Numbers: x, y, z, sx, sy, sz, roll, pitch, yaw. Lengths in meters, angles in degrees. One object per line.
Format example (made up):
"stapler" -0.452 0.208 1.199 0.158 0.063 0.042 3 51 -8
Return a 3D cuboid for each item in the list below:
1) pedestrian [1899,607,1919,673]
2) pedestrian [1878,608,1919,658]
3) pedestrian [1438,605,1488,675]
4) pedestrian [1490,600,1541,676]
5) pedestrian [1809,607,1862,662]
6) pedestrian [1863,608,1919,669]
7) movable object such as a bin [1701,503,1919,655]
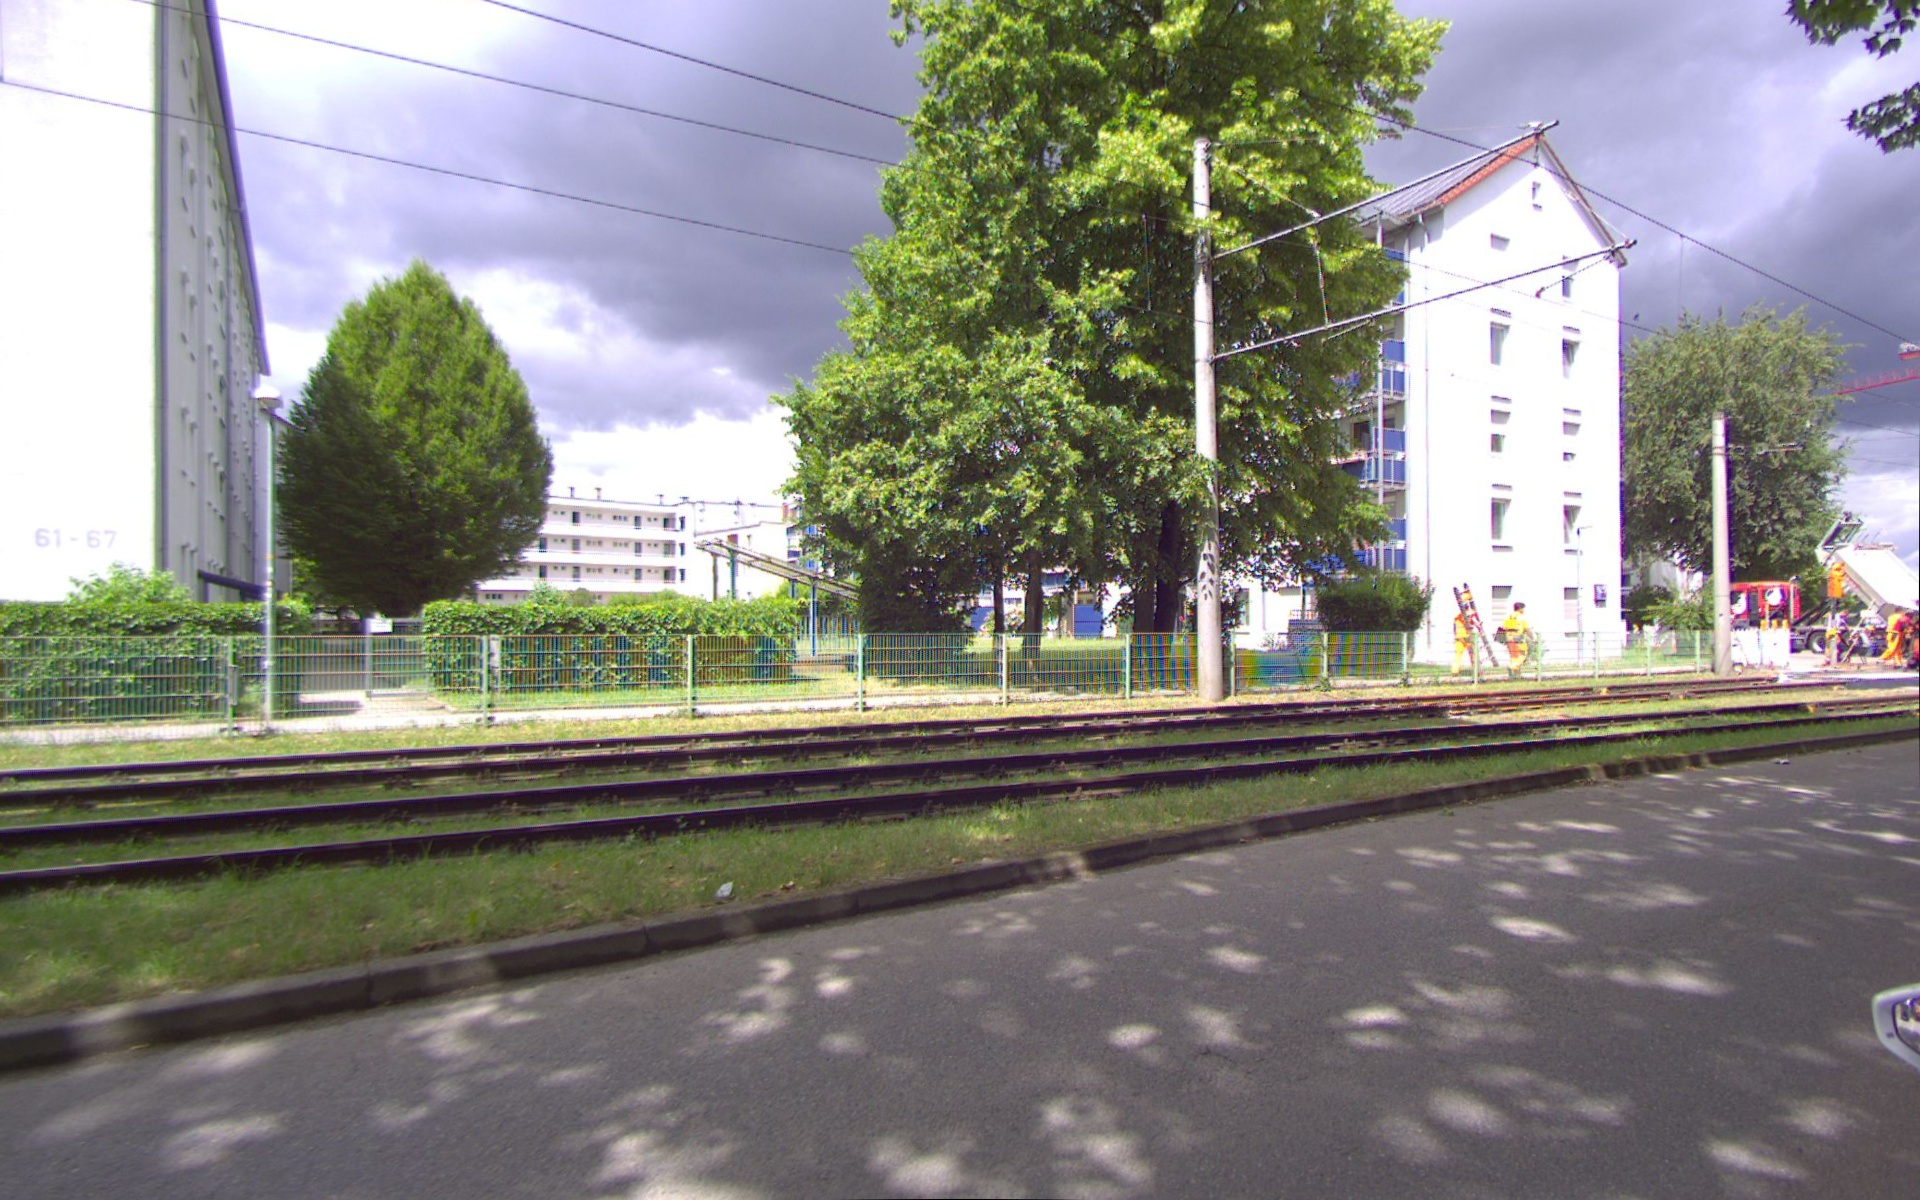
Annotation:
"pedestrian" 26.455 1.086 27.451 0.826 1.784 0.883 1 0 -25
"pedestrian" 31.802 1.097 34.039 0.892 1.667 0.878 1 0 -39
"pedestrian" 12.128 0.946 24.206 0.857 1.647 0.728 1 -1 -30
"pedestrian" 13.042 0.887 23.598 0.857 1.741 0.696 1 0 -30
"pedestrian" 26.773 1.045 30.739 0.870 1.667 0.837 1 0 1
"pedestrian" 27.235 1.097 29.269 1.088 1.738 0.888 1 0 16
"movable object such as a bin" 35.063 -0.693 40.897 2.612 5.486 9.229 1 -1 -3
